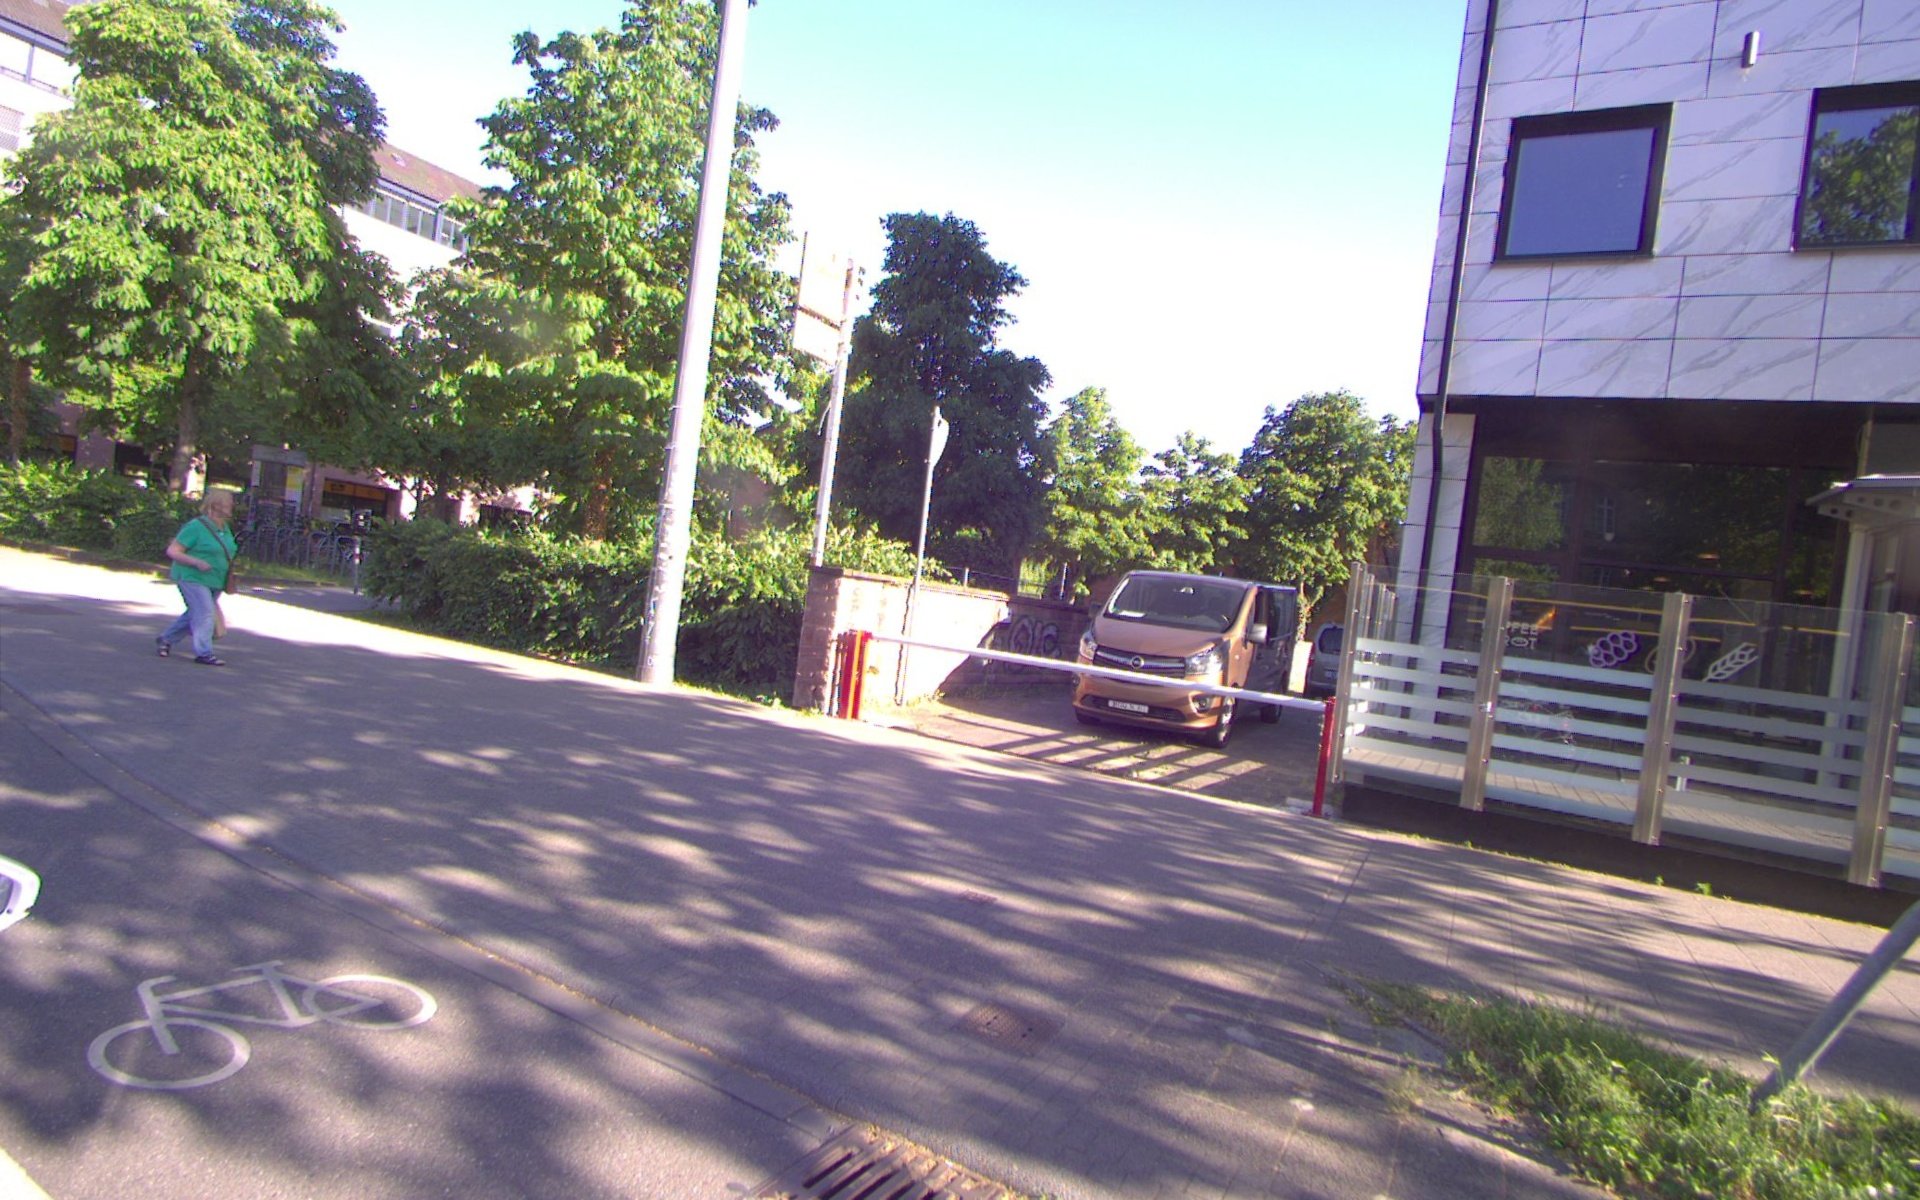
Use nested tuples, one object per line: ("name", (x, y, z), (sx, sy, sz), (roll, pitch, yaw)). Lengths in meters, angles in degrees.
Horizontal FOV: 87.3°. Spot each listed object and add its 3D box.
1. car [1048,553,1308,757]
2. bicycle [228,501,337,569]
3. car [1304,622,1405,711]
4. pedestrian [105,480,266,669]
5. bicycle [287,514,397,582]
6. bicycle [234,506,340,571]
("car", (3.081, 0.622, 13.250), (1.880, 2.011, 4.901), (7, 2, 28))
("bicycle", (-15.780, -1.494, 23.483), (0.564, 1.331, 1.998), (7, 2, 31))
("car", (9.101, 1.509, 23.041), (1.567, 1.692, 3.616), (7, 0, 28))
("pedestrian", (-7.144, -0.228, 9.321), (0.818, 1.596, 0.737), (6, 1, -9))
("bicycle", (-13.959, -1.159, 22.789), (0.564, 1.331, 1.998), (7, 2, 31))
("bicycle", (-16.112, -1.445, 24.127), (0.564, 1.331, 1.998), (7, 2, 31))
